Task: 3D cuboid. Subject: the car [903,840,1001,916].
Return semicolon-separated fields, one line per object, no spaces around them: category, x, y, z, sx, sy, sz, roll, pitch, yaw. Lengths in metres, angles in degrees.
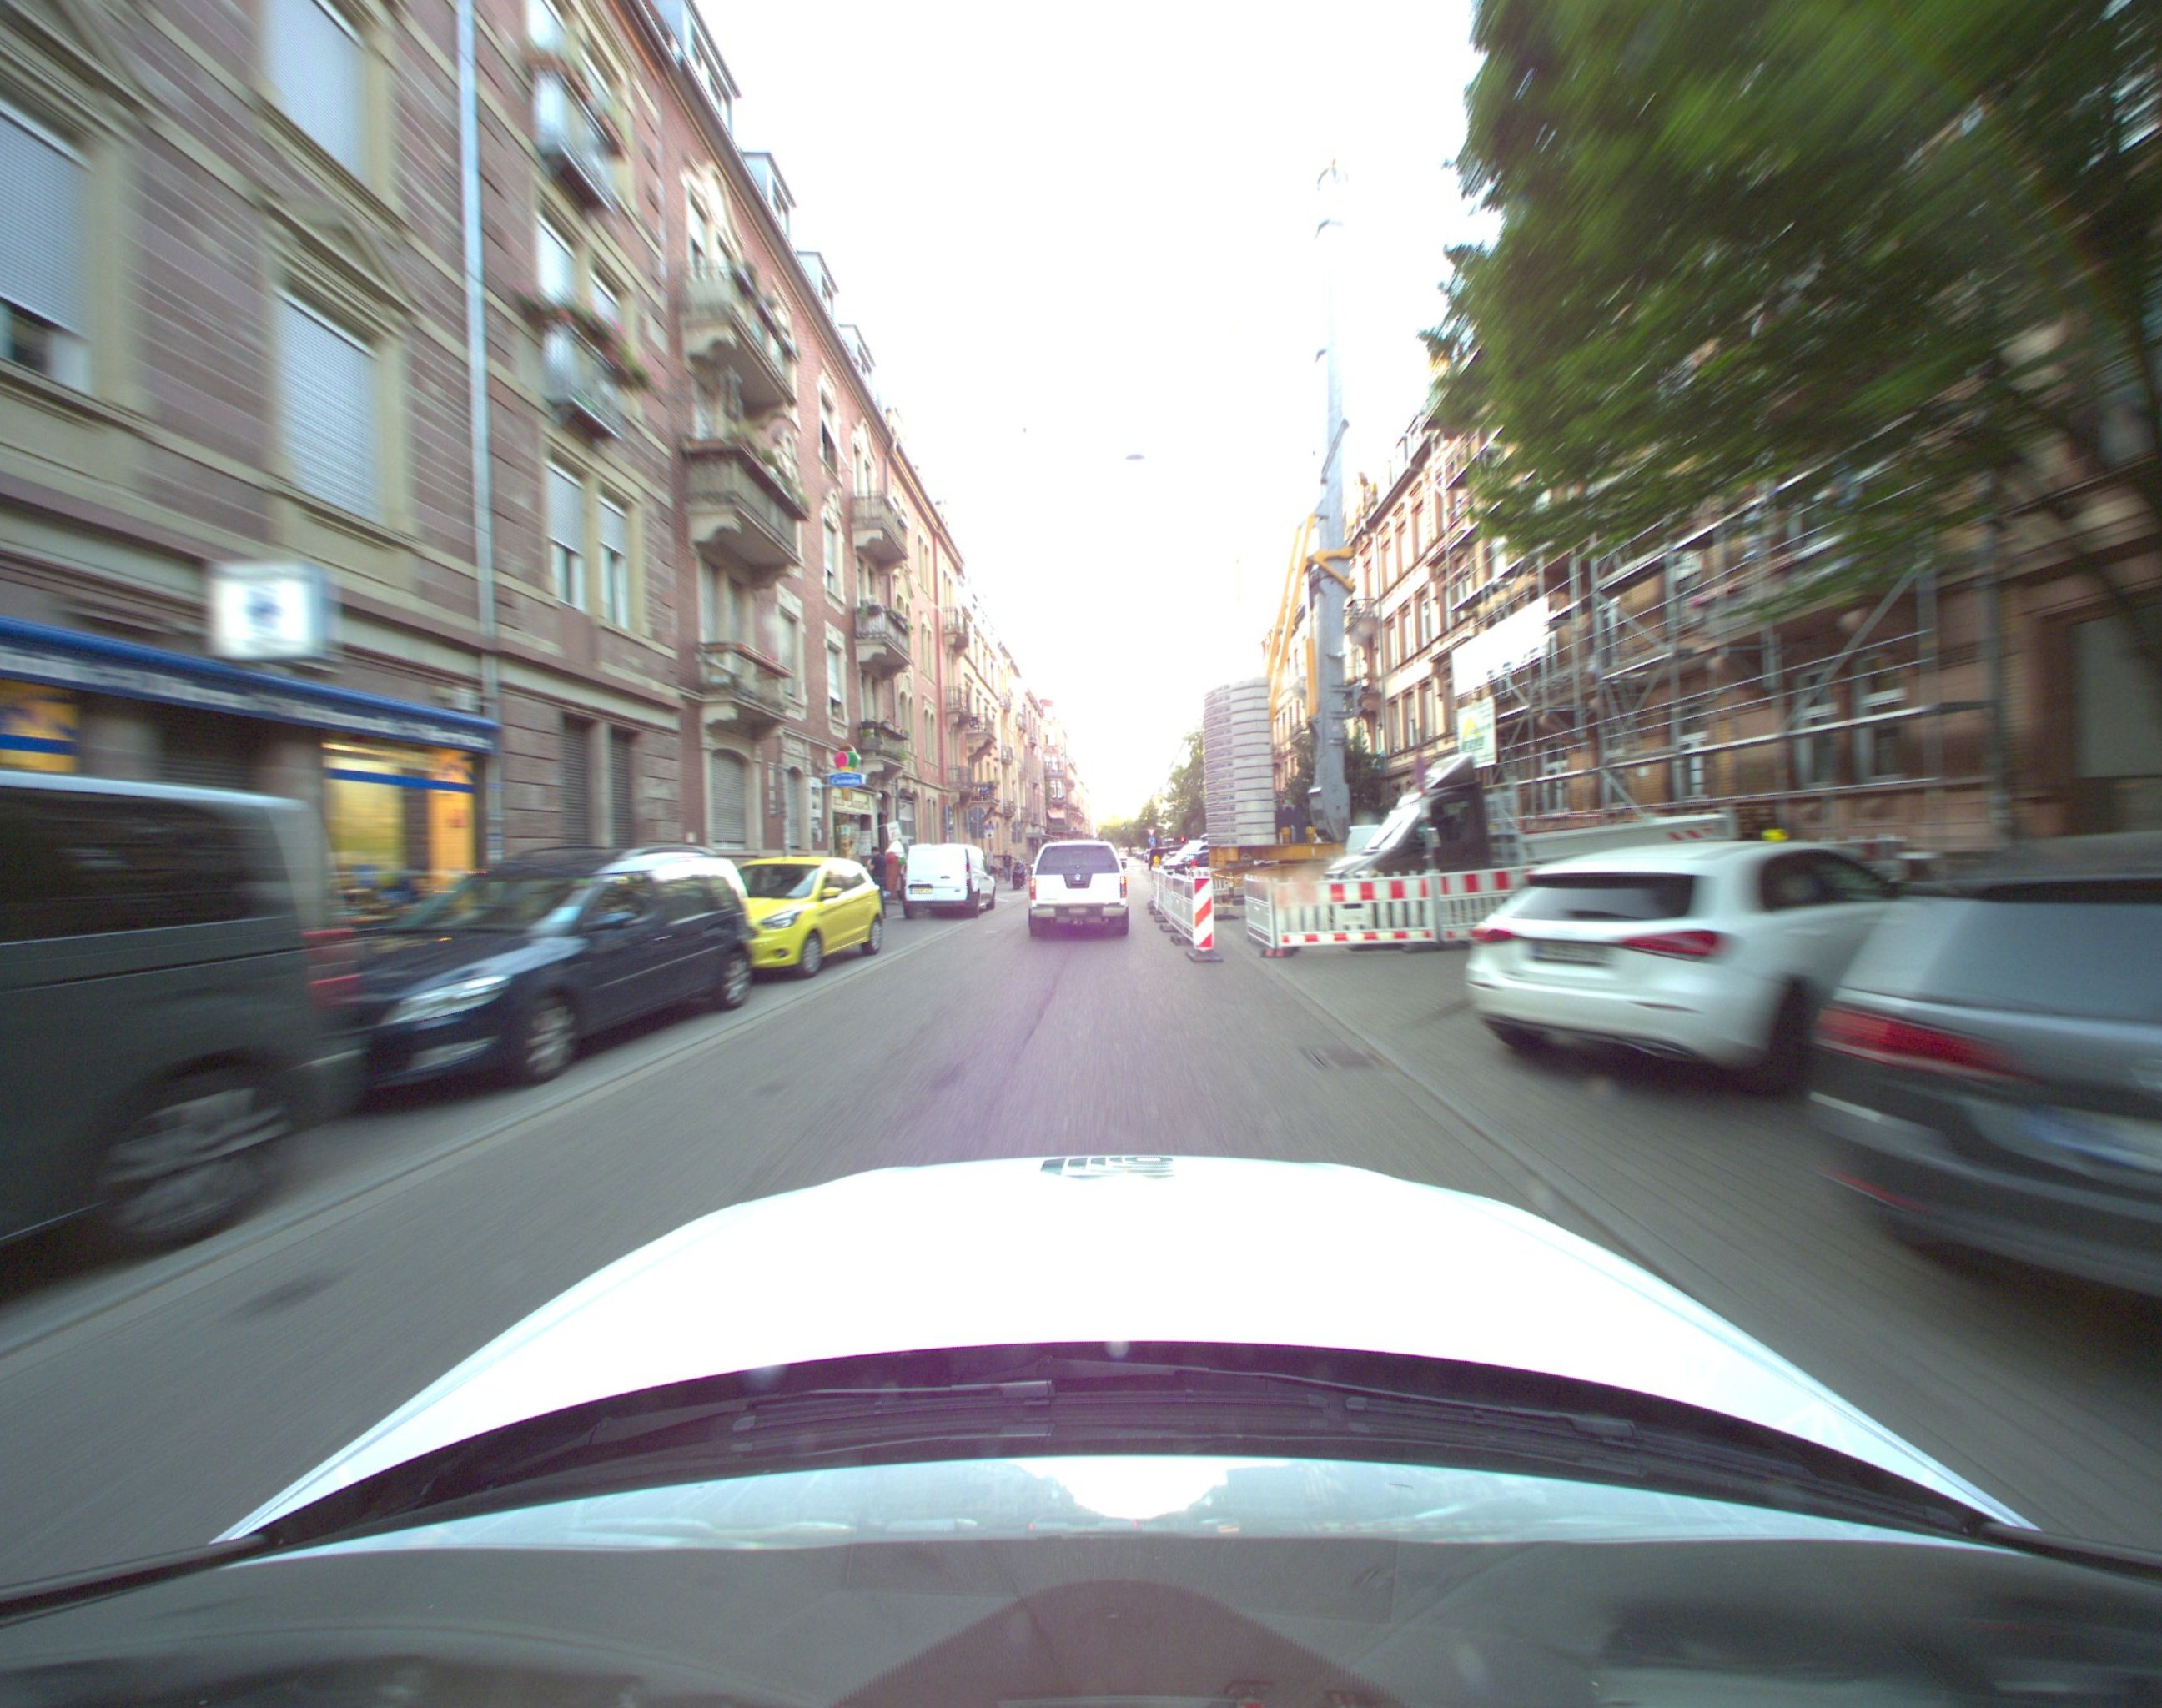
car;-3.321;0.593;21.768;1.764;1.789;4.588;-1;-1;1

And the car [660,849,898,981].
car;-4.045;0.732;11.632;1.697;1.530;3.797;-2;0;4

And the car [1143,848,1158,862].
car;10.392;0.157;121.723;1.935;1.934;4.002;-1;-1;2

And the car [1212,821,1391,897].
car;6.986;0.138;26.161;5.153;1.955;1.900;-4;1;1

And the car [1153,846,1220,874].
car;7.004;0.392;53.987;4.121;1.551;1.801;-5;1;-29

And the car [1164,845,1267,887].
car;5.682;0.481;34.401;3.872;1.516;1.833;-3;0;-23

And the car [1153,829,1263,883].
car;6.243;0.073;39.944;4.945;2.362;1.984;-3;0;-24

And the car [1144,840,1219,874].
car;7.436;0.181;59.997;5.461;2.072;1.912;-5;1;-36

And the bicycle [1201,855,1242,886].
bicycle;5.424;0.647;31.621;0.498;1.136;1.797;-4;1;-28

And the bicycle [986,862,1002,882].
bicycle;-4.879;0.998;45.743;0.748;1.101;2.023;-1;-1;-4

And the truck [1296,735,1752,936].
truck;7.233;-0.249;14.118;6.448;3.076;2.528;-1;-1;6

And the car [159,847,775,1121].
car;-4.420;0.781;6.826;1.918;1.596;3.974;-2;0;4

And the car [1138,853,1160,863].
car;12.735;0.782;153.006;3.972;1.750;1.841;-1;-1;1

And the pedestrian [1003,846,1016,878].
pedestrian;-4.078;0.462;46.299;0.680;1.810;0.960;-1;-1;-3

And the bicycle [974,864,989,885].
bicycle;-4.990;1.010;40.972;0.445;1.030;1.742;-1;-1;4

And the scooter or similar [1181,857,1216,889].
scooter or similar;4.529;0.721;31.562;0.657;1.150;1.474;-4;0;-21

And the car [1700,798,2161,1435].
car;4.363;0.557;3.144;4.187;1.488;1.812;-4;0;-34

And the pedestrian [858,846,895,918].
pedestrian;-5.021;0.688;20.003;0.613;1.730;0.589;-1;-1;31

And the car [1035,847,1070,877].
car;-1.902;0.506;55.831;1.829;1.921;4.850;-2;0;4

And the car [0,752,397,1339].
car;-4.481;0.639;1.620;1.920;1.882;4.908;-2;0;2

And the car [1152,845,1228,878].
car;6.481;0.442;48.404;4.120;1.590;1.802;-5;1;-28

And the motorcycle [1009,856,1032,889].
motorcycle;-2.686;0.815;36.448;0.681;1.405;2.017;-1;-1;5

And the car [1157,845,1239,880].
car;6.560;0.444;45.477;4.178;1.590;1.869;-5;1;-28

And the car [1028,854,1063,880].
car;-2.124;0.777;50.055;1.830;1.471;4.173;-2;0;1

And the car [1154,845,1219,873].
car;7.347;0.340;56.657;4.121;1.551;1.801;-5;1;-29

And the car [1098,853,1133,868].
car;4.020;0.772;94.887;3.733;1.728;1.777;-1;-1;14

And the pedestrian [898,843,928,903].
pedestrian;-5.230;0.586;25.401;0.593;1.814;0.724;-1;-1;21

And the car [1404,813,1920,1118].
car;4.478;0.572;6.129;4.009;1.488;1.668;-4;0;-32

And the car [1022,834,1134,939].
car;-0.101;0.590;16.688;1.933;1.810;4.997;-1;-1;-1
